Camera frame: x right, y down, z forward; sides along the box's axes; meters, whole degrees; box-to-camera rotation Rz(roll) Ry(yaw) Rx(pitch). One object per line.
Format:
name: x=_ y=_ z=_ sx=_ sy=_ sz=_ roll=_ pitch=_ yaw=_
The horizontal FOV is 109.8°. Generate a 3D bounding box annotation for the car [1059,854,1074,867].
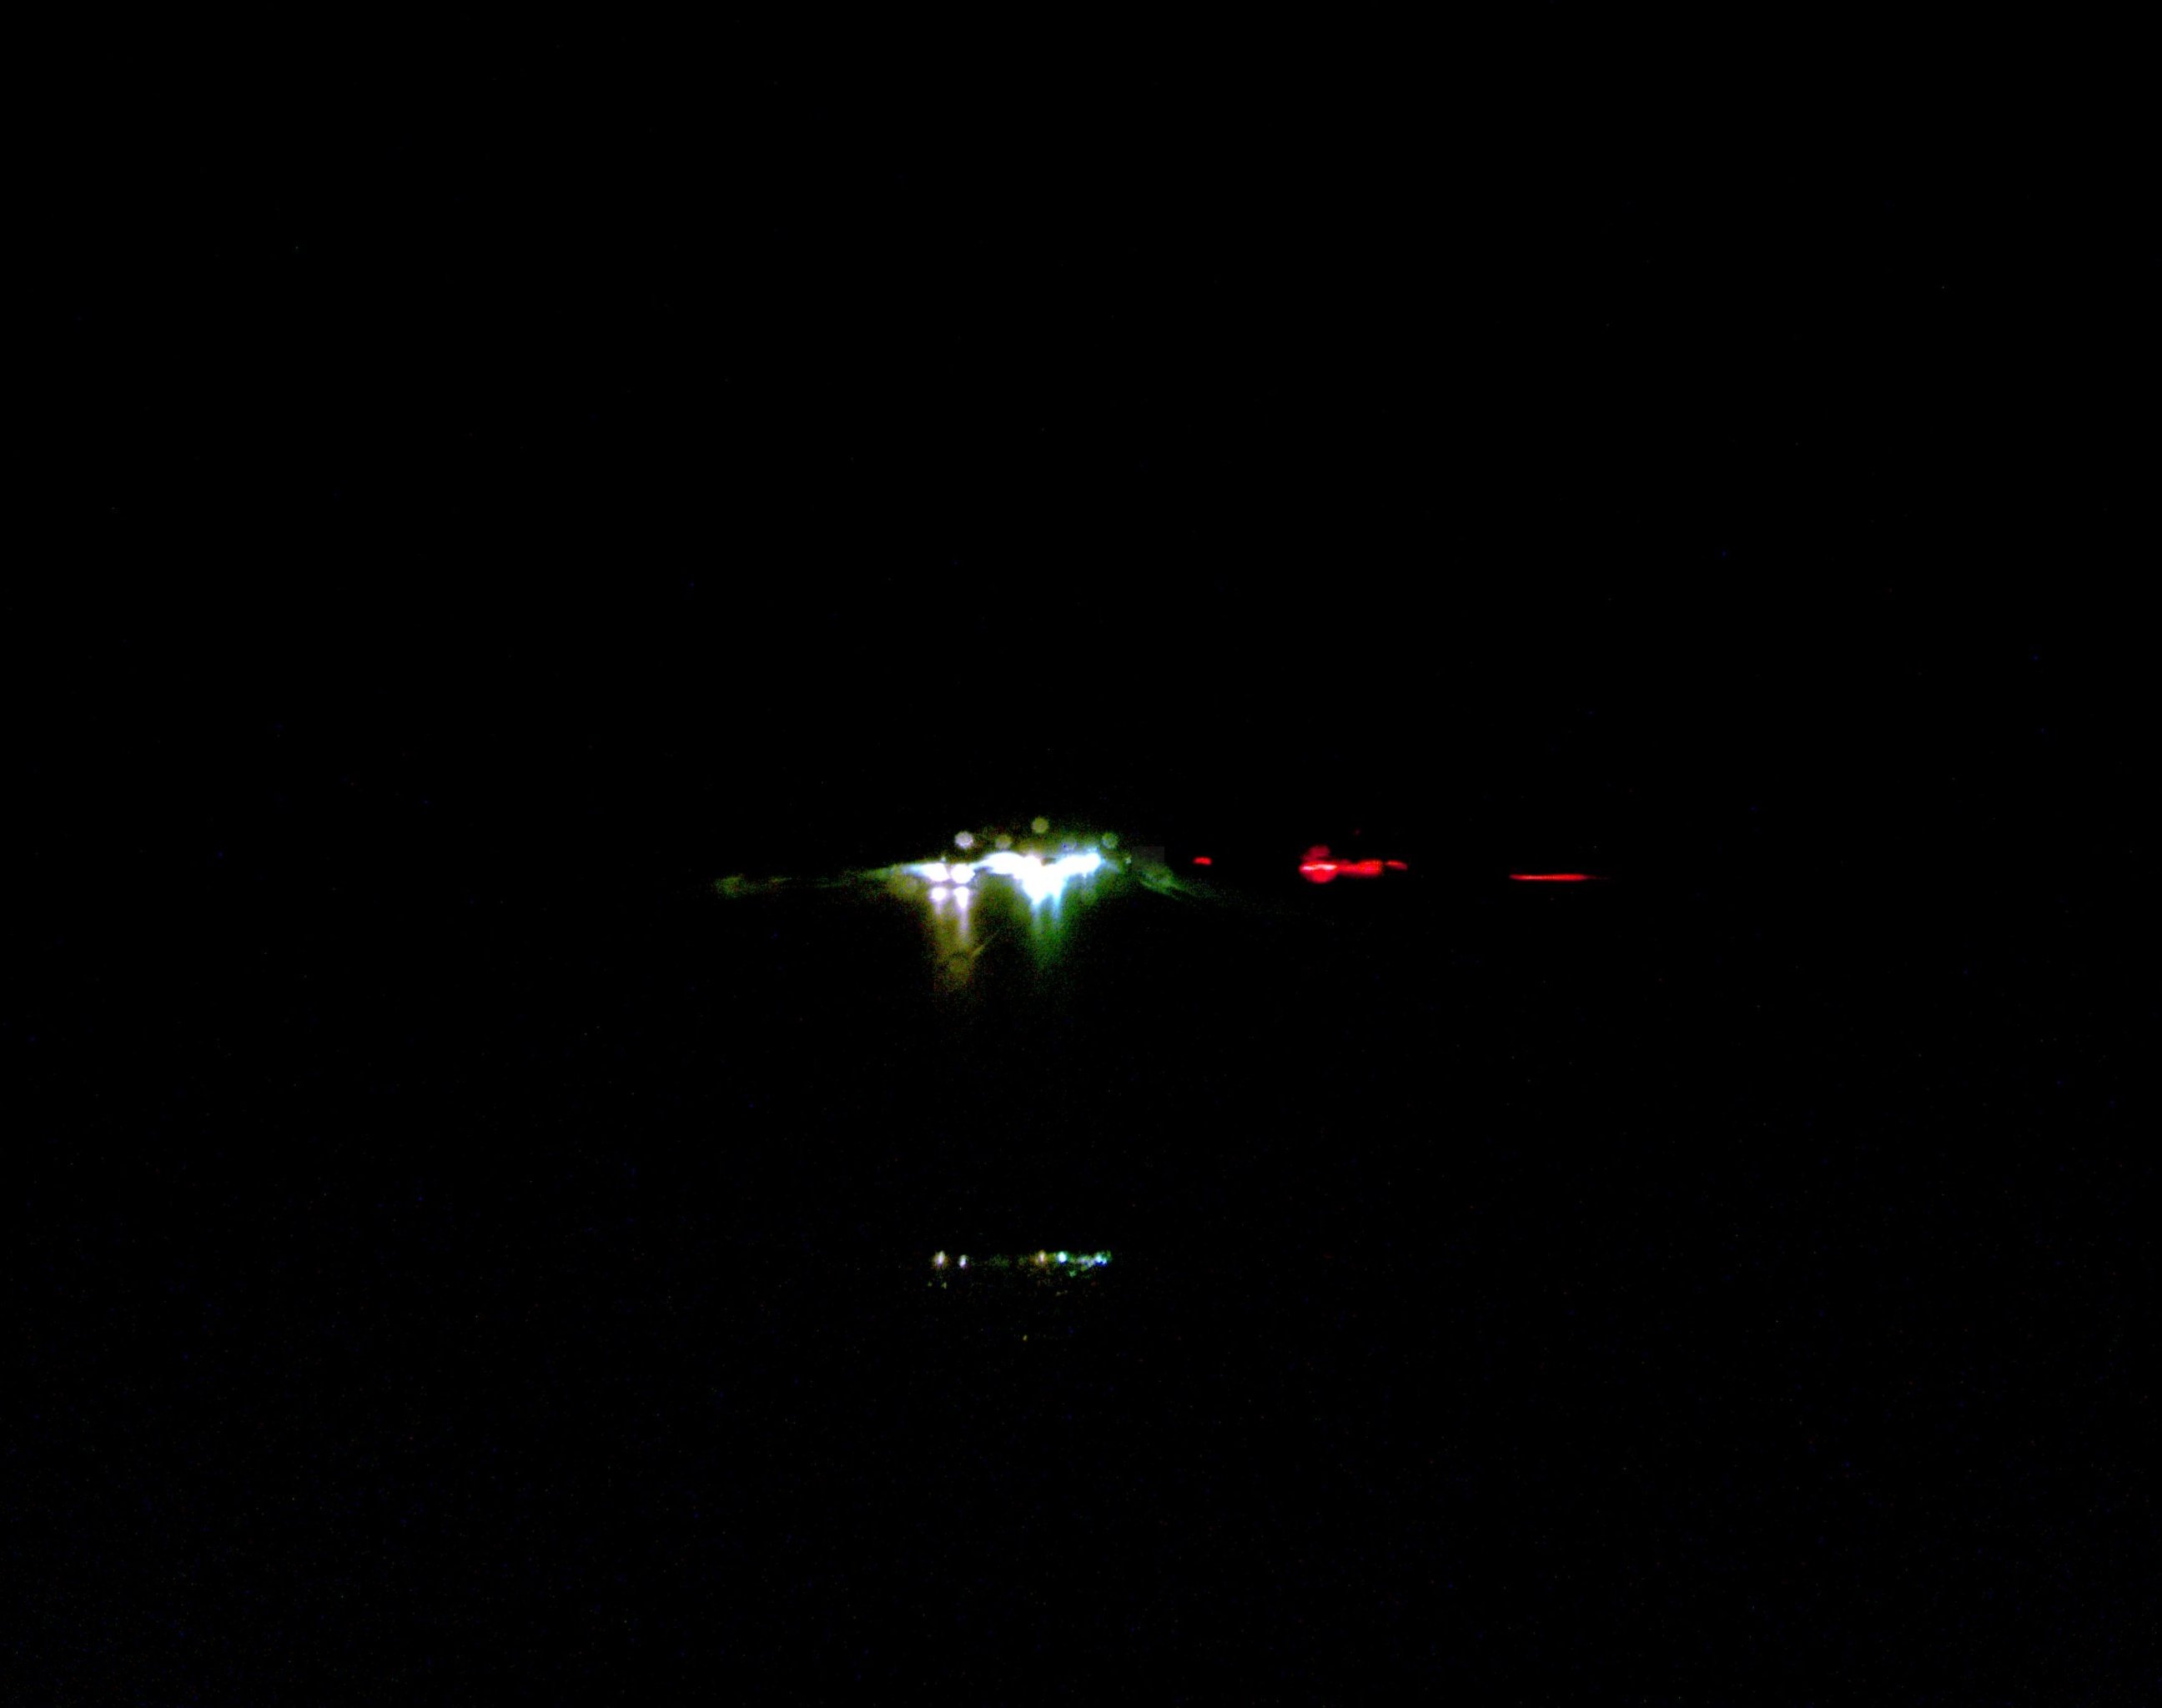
car: x=-1.922 y=0.909 z=103.090 sx=1.883 sy=1.653 sz=4.000 roll=-3 pitch=-1 yaw=-1

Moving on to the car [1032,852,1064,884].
car: x=-2.237 y=0.933 z=51.699 sx=1.999 sy=2.002 sz=3.999 roll=-2 pitch=0 yaw=-3

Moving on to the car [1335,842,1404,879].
car: x=17.037 y=0.351 z=45.218 sx=1.999 sy=2.002 sz=5.359 roll=0 pitch=0 yaw=-1

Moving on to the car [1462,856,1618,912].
car: x=13.340 y=0.808 z=22.456 sx=1.998 sy=1.432 sz=4.437 roll=0 pitch=0 yaw=1

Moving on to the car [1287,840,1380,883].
car: x=9.061 y=0.252 z=27.703 sx=1.998 sy=1.432 sz=4.437 roll=0 pitch=0 yaw=1

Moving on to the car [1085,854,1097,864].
car: x=1.749 y=0.826 z=133.556 sx=1.883 sy=1.653 sz=4.000 roll=-3 pitch=-1 yaw=-1

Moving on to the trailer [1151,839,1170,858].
trailer: x=19.187 y=-1.232 z=184.965 sx=2.980 sy=4.243 sz=14.862 roll=-5 pitch=0 yaw=1

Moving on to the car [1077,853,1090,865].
car: x=0.376 y=0.832 z=116.258 sx=1.883 sy=1.653 sz=4.001 roll=-3 pitch=-1 yaw=1

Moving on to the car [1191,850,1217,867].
car: x=13.873 y=0.493 z=85.946 sx=1.998 sy=1.729 sz=5.235 roll=-3 pitch=0 yaw=1

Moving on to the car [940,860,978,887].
car: x=-6.982 y=1.085 z=43.825 sx=1.644 sy=1.494 sz=4.012 roll=-1 pitch=0 yaw=-2

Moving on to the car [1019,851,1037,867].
car: x=-6.506 y=0.678 z=94.132 sx=1.832 sy=1.835 sz=4.699 roll=-3 pitch=-1 yaw=0

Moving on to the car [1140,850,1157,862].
car: x=9.778 y=0.271 z=110.666 sx=1.999 sy=1.729 sz=3.999 roll=-3 pitch=0 yaw=-1
